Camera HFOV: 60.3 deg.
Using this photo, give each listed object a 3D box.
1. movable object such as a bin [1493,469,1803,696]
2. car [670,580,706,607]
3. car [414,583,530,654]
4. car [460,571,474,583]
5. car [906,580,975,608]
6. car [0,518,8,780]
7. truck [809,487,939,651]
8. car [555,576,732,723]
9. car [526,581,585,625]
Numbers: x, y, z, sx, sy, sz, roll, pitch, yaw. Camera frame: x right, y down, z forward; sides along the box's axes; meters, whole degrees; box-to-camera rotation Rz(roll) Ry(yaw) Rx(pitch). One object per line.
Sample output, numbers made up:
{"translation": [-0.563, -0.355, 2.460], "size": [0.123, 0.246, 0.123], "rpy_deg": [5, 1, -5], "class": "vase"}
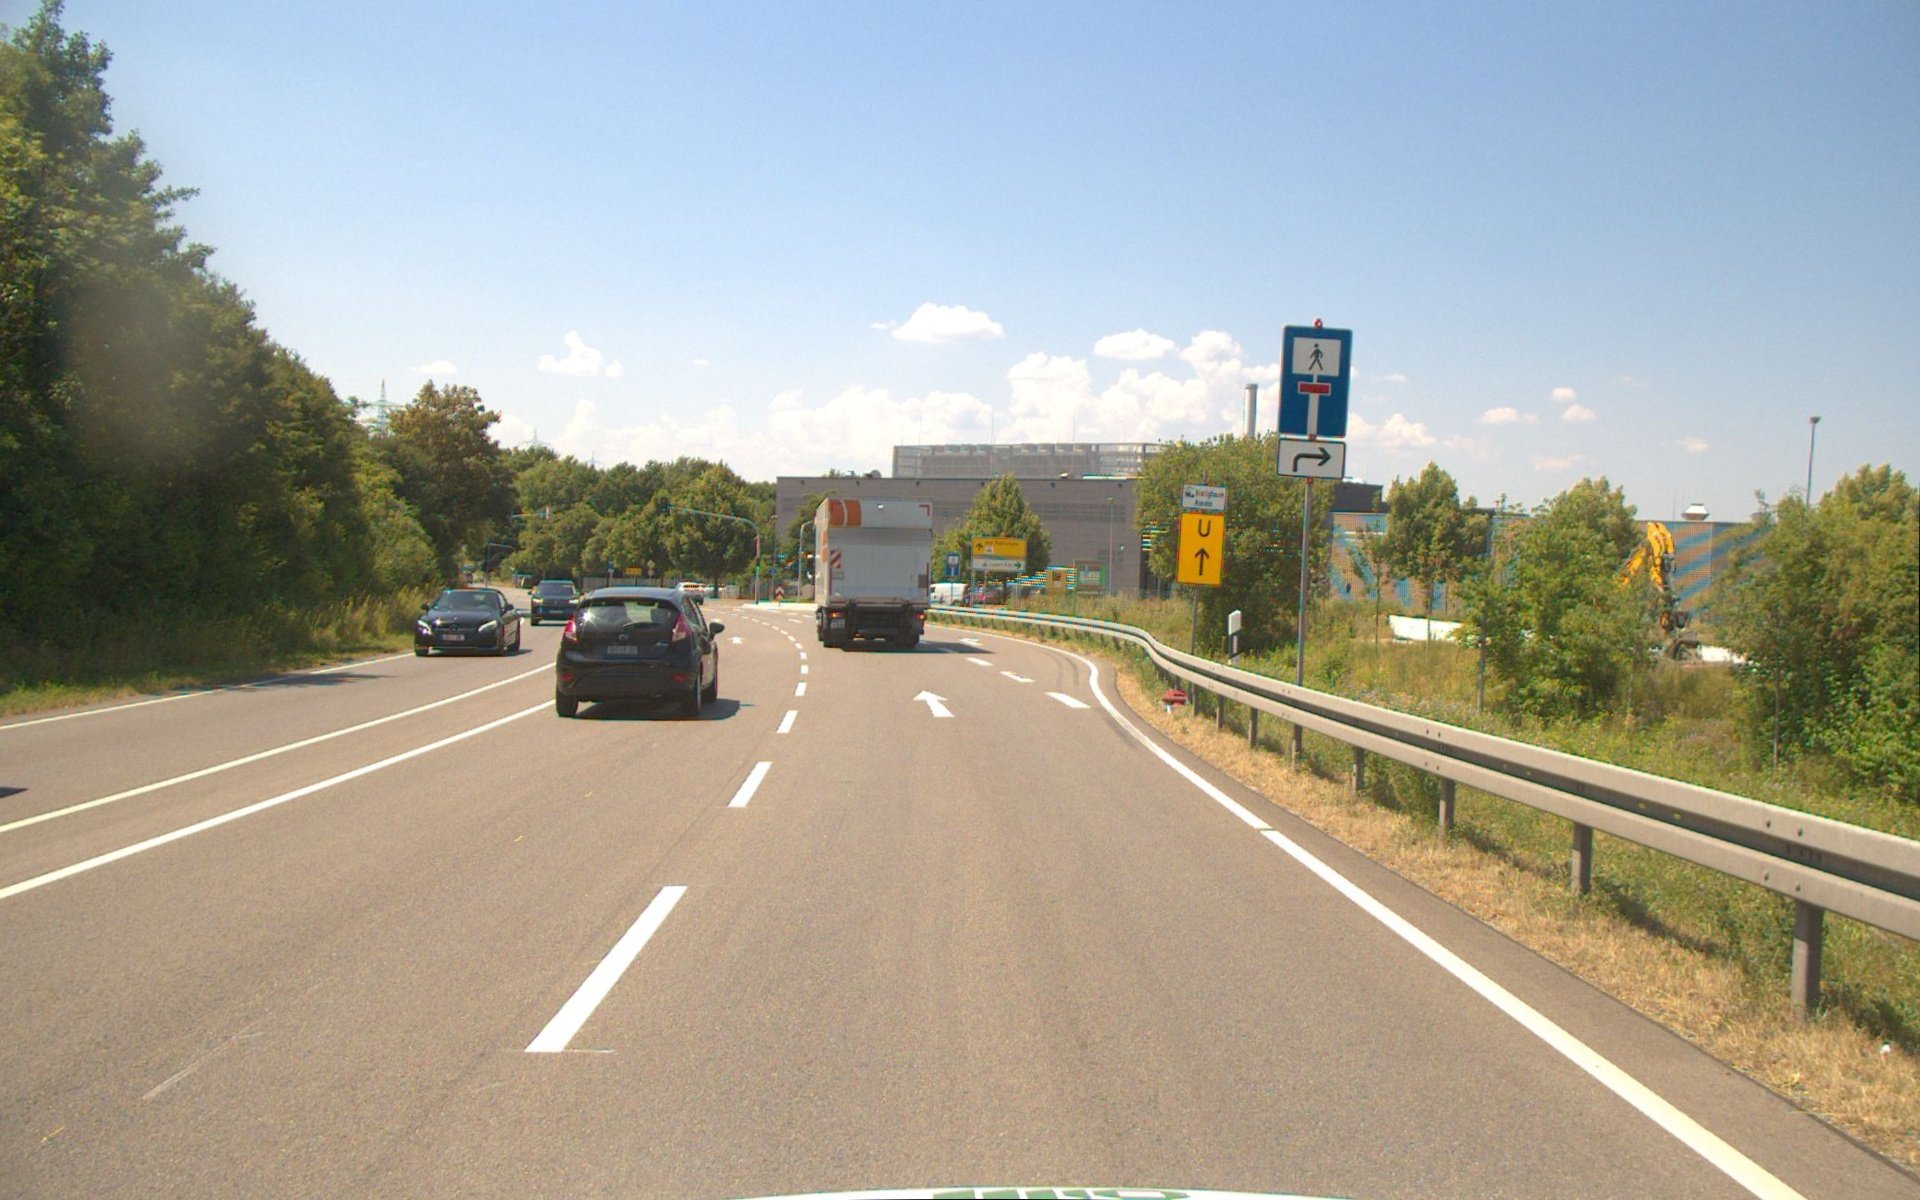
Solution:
{"translation": [18.130, -0.656, 44.605], "size": [3.359, 5.351, 9.218], "rpy_deg": [2, 3, -7], "class": "movable object such as a bin"}
{"translation": [-18.950, -0.493, 115.185], "size": [1.913, 1.693, 3.981], "rpy_deg": [4, 0, -17], "class": "car"}
{"translation": [-10.711, 0.362, 36.597], "size": [1.783, 1.467, 4.635], "rpy_deg": [0, 0, -8], "class": "car"}
{"translation": [-70.018, -3.243, 234.885], "size": [1.962, 1.713, 3.982], "rpy_deg": [1, 0, -17], "class": "car"}
{"translation": [-1.406, -0.427, 121.224], "size": [4.644, 1.966, 2.155], "rpy_deg": [1, 0, 11], "class": "car"}
{"translation": [-7.891, 0.374, 9.657], "size": [1.954, 1.927, 5.100], "rpy_deg": [1, 0, -4], "class": "car"}
{"translation": [-2.427, -0.824, 43.348], "size": [2.750, 3.775, 9.095], "rpy_deg": [1, 1, -7], "class": "truck"}
{"translation": [-3.801, 0.528, 20.478], "size": [1.620, 1.519, 4.205], "rpy_deg": [1, 2, -4], "class": "car"}
{"translation": [-15.309, 0.100, 62.757], "size": [1.958, 1.620, 4.669], "rpy_deg": [0, 0, -11], "class": "car"}
